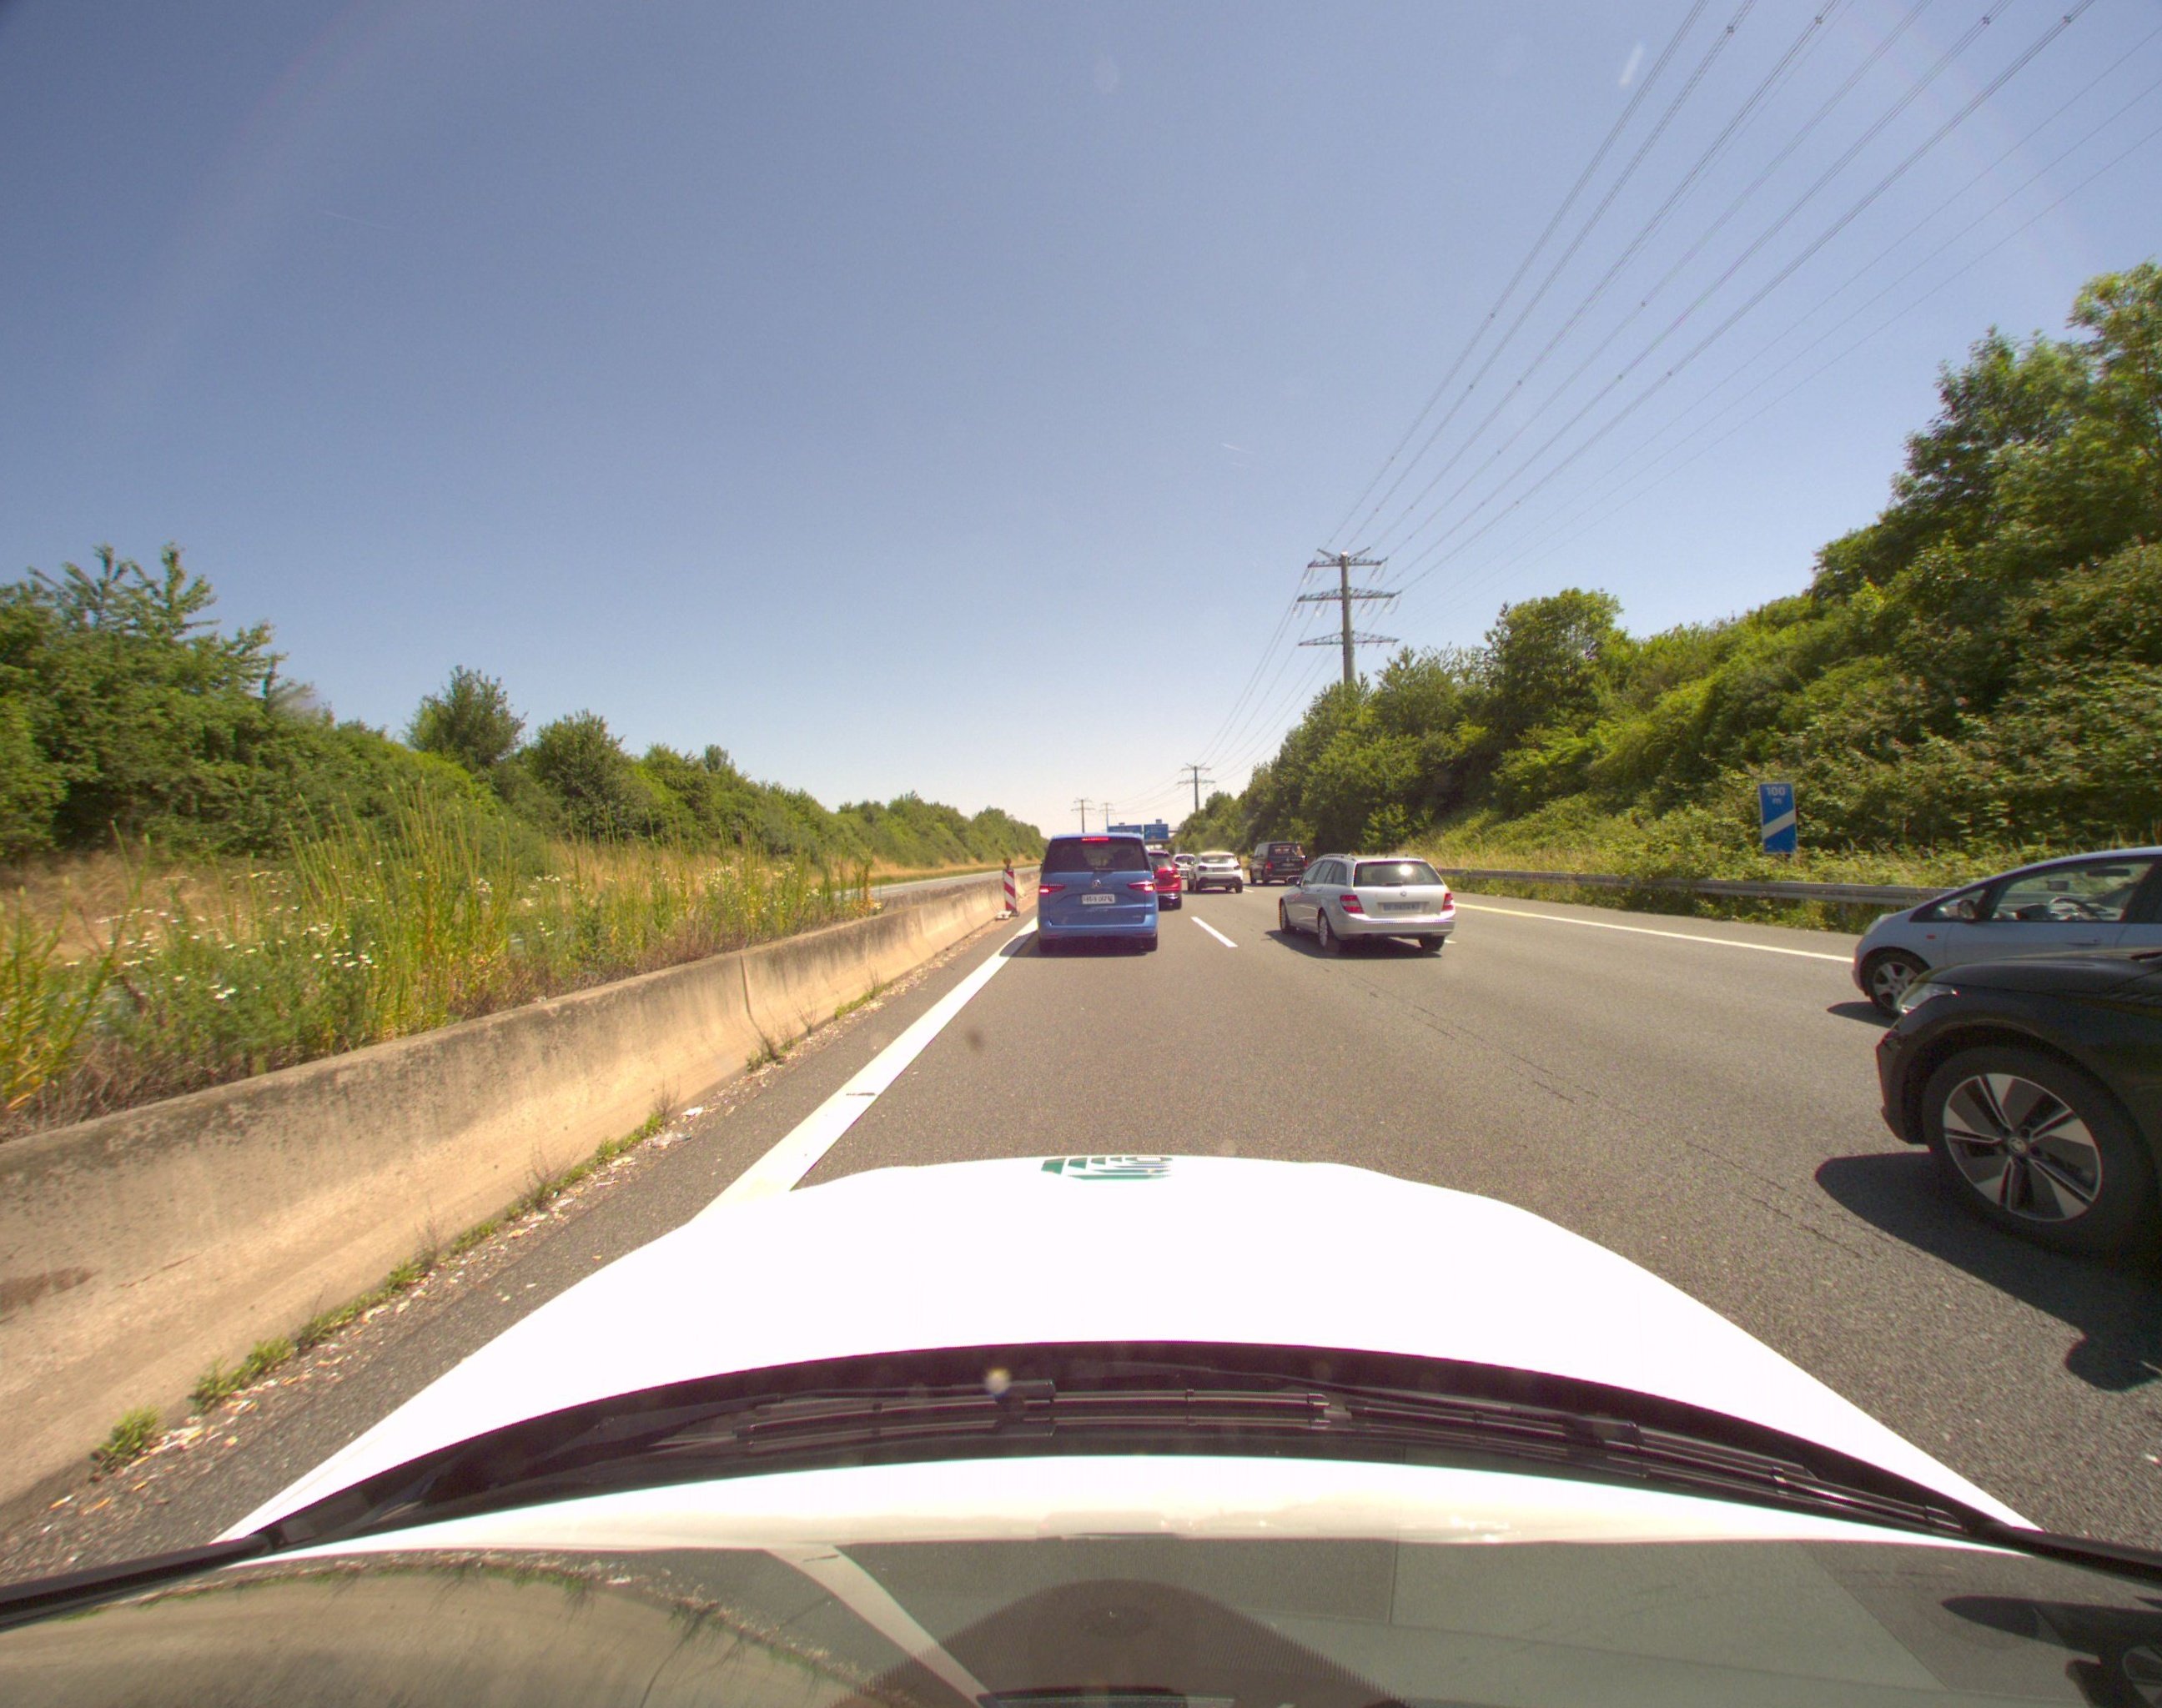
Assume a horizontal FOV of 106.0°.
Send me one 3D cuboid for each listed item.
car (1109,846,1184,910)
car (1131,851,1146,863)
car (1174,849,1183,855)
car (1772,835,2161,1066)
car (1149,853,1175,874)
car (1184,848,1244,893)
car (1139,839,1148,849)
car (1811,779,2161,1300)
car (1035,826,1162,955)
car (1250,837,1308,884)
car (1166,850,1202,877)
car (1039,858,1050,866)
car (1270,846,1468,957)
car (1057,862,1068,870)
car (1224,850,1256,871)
[{"bbox_3d":[1.778,0.633,23.344,1.868,1.671,4.360,0,0,1],"label":"car"},{"bbox_3d":[7.537,0.382,107.738,1.791,1.594,4.228,0,0,2],"label":"car"},{"bbox_3d":[25.058,-0.541,210.338,1.868,1.671,4.360,0,0,1],"label":"car"},{"bbox_3d":[7.659,0.605,6.178,1.694,1.448,3.789,0,0,2],"label":"car"},{"bbox_3d":[6.282,0.737,63.490,1.791,1.594,4.228,0,0,2],"label":"car"},{"bbox_3d":[5.081,0.612,31.610,1.791,1.594,4.228,0,0,2],"label":"car"},{"bbox_3d":[16.407,-2.597,213.971,2.368,2.428,4.228,0,0,2],"label":"car"},{"bbox_3d":[4.263,0.580,1.625,1.695,1.655,4.430,0,0,1],"label":"car"},{"bbox_3d":[0.300,0.552,14.238,1.868,1.912,4.360,0,0,1],"label":"car"},{"bbox_3d":[8.946,0.276,37.152,1.790,2.014,4.230,0,0,3],"label":"car"},{"bbox_3d":[6.180,0.566,49.432,1.791,1.594,4.228,0,0,2],"label":"car"},{"bbox_3d":[-8.121,1.789,182.306,1.986,1.650,4.632,-4,0,2],"label":"car"},{"bbox_3d":[4.462,0.665,13.361,1.764,1.517,4.360,0,0,1],"label":"car"},{"bbox_3d":[-4.076,2.608,178.522,1.986,1.662,4.231,-3,0,2],"label":"car"},{"bbox_3d":[12.514,0.516,64.209,1.791,1.594,4.228,0,0,2],"label":"car"}]
